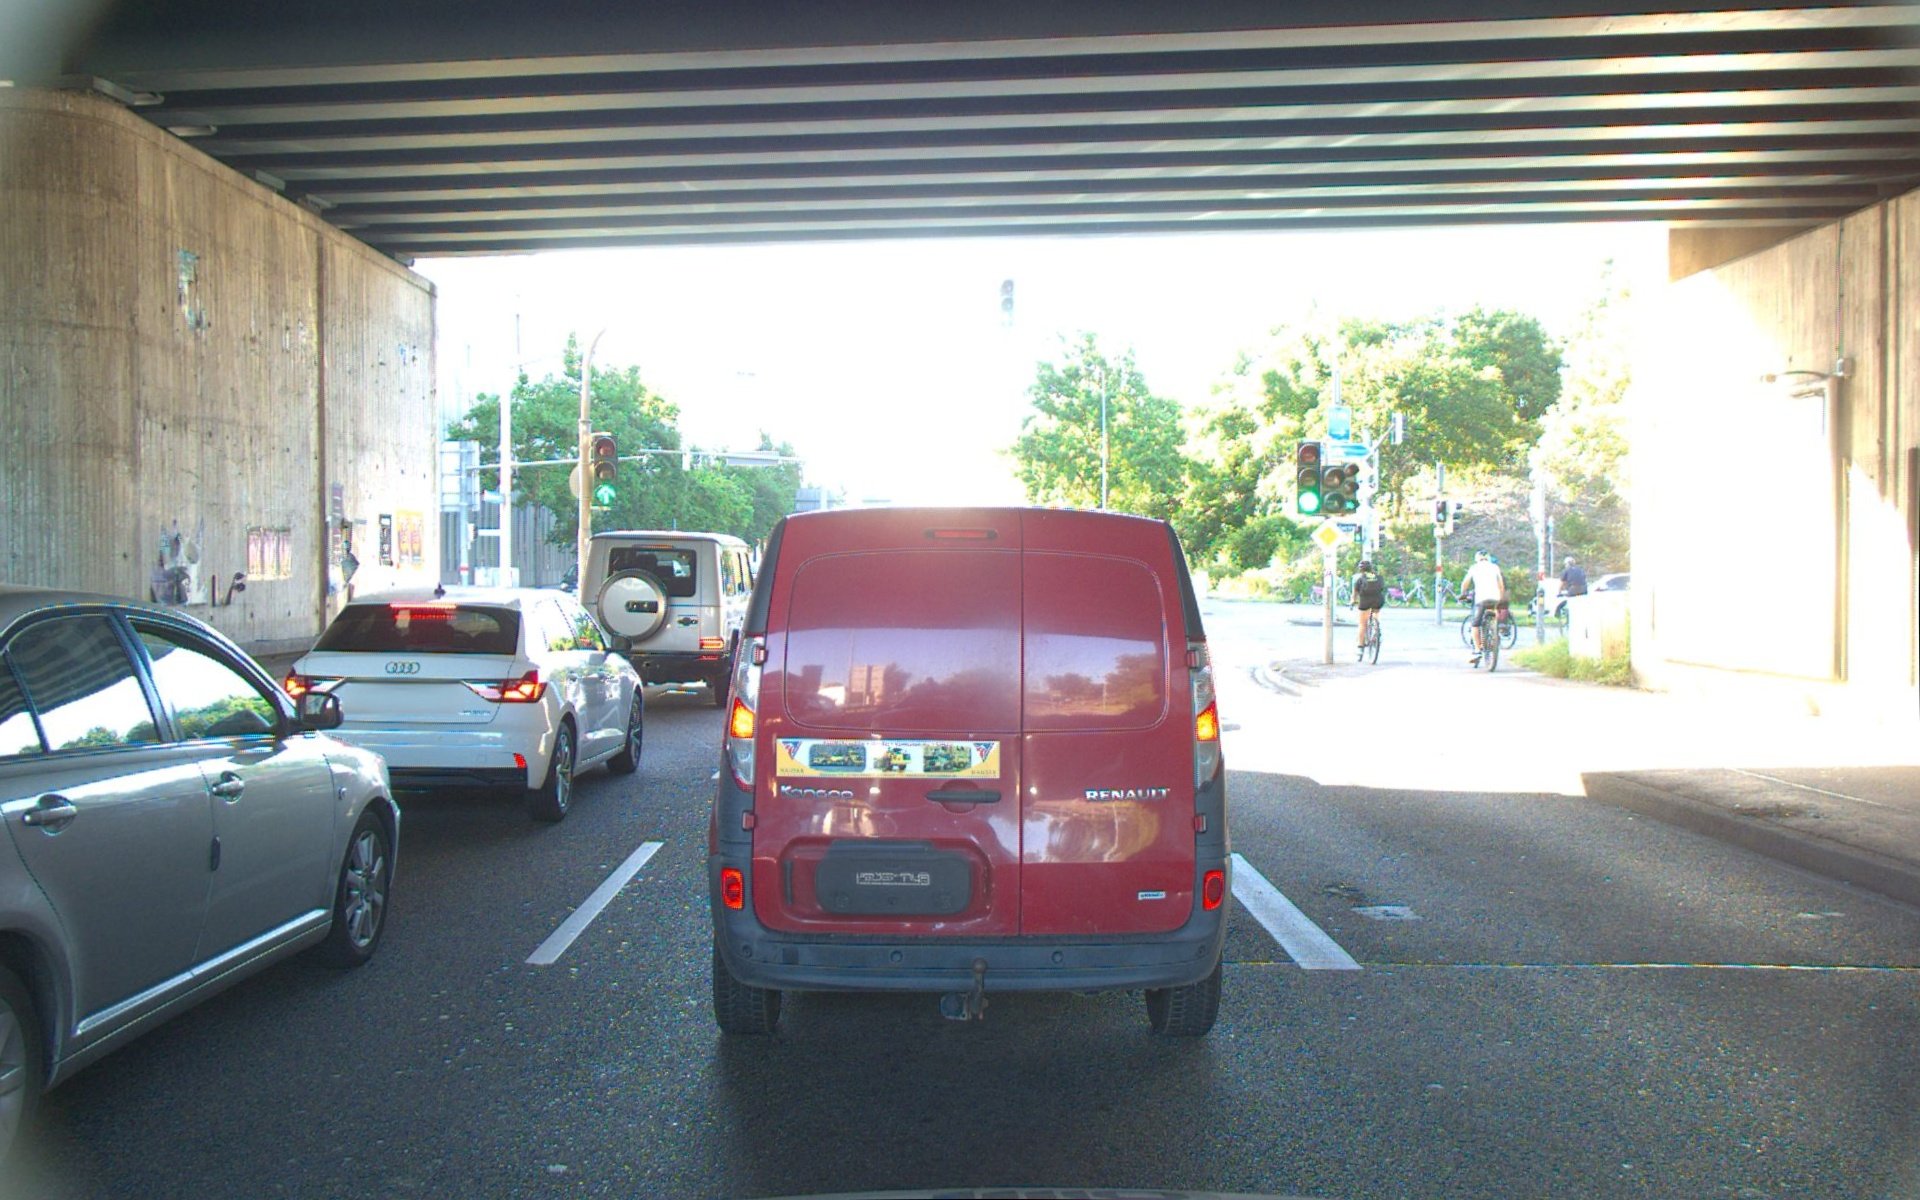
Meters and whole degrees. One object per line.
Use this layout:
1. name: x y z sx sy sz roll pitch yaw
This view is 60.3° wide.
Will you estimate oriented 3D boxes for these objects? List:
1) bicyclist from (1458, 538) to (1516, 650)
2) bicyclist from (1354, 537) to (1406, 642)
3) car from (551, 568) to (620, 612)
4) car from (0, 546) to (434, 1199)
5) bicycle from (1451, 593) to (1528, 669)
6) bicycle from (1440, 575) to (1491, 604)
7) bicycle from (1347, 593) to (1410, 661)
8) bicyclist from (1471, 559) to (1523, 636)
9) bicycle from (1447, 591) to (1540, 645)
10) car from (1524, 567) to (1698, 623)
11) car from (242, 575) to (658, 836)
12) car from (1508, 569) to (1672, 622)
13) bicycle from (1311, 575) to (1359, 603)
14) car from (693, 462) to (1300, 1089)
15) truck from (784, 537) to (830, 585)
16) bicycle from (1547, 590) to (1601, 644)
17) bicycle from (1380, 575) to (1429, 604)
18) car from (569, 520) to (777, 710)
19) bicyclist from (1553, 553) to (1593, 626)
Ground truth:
1. bicyclist: 7.602 -0.086 23.877 0.579 1.575 0.769 1 -1 1
2. bicyclist: 6.666 -0.164 26.301 0.579 1.642 0.942 1 0 1
3. car: -16.116 -0.443 71.410 1.787 1.768 4.630 -2 1 1
4. car: -3.011 0.627 4.854 1.698 1.506 4.317 0 0 -2
5. bicycle: 7.601 0.429 23.806 0.579 1.041 1.750 1 0 1
6. bicycle: 18.374 -0.383 60.152 1.707 1.041 0.594 1 0 10
7. bicycle: 6.675 0.424 26.436 0.579 1.041 1.750 1 0 1
8. bicyclist: 10.695 -0.044 32.961 0.655 1.500 0.747 1 -1 -19
9. bicycle: 10.650 0.344 33.088 0.661 1.041 2.044 1 0 -19
10. car: 19.172 -0.151 48.841 4.451 1.540 1.829 1 0 6
11. car: -3.257 0.580 11.334 1.777 1.463 3.730 1 1 -2
12. car: 19.580 -0.132 51.523 4.451 1.540 1.829 1 0 6
13. bicycle: 14.204 -0.418 62.626 1.707 1.041 0.594 1 0 8
14. car: 0.084 0.529 6.887 1.768 1.826 3.999 1 0 -1
15. truck: -10.251 -2.599 111.244 2.360 3.079 6.657 -2 1 0
16. bicycle: 12.885 0.345 34.738 0.653 1.041 1.752 0 2 7
17. bicycle: 16.464 -0.385 61.273 1.707 1.041 0.594 1 0 8
18. car: -3.346 0.172 20.154 1.764 2.023 4.588 1 0 -1
19. bicyclist: 12.885 -0.230 34.774 0.635 1.506 0.619 1 1 6
